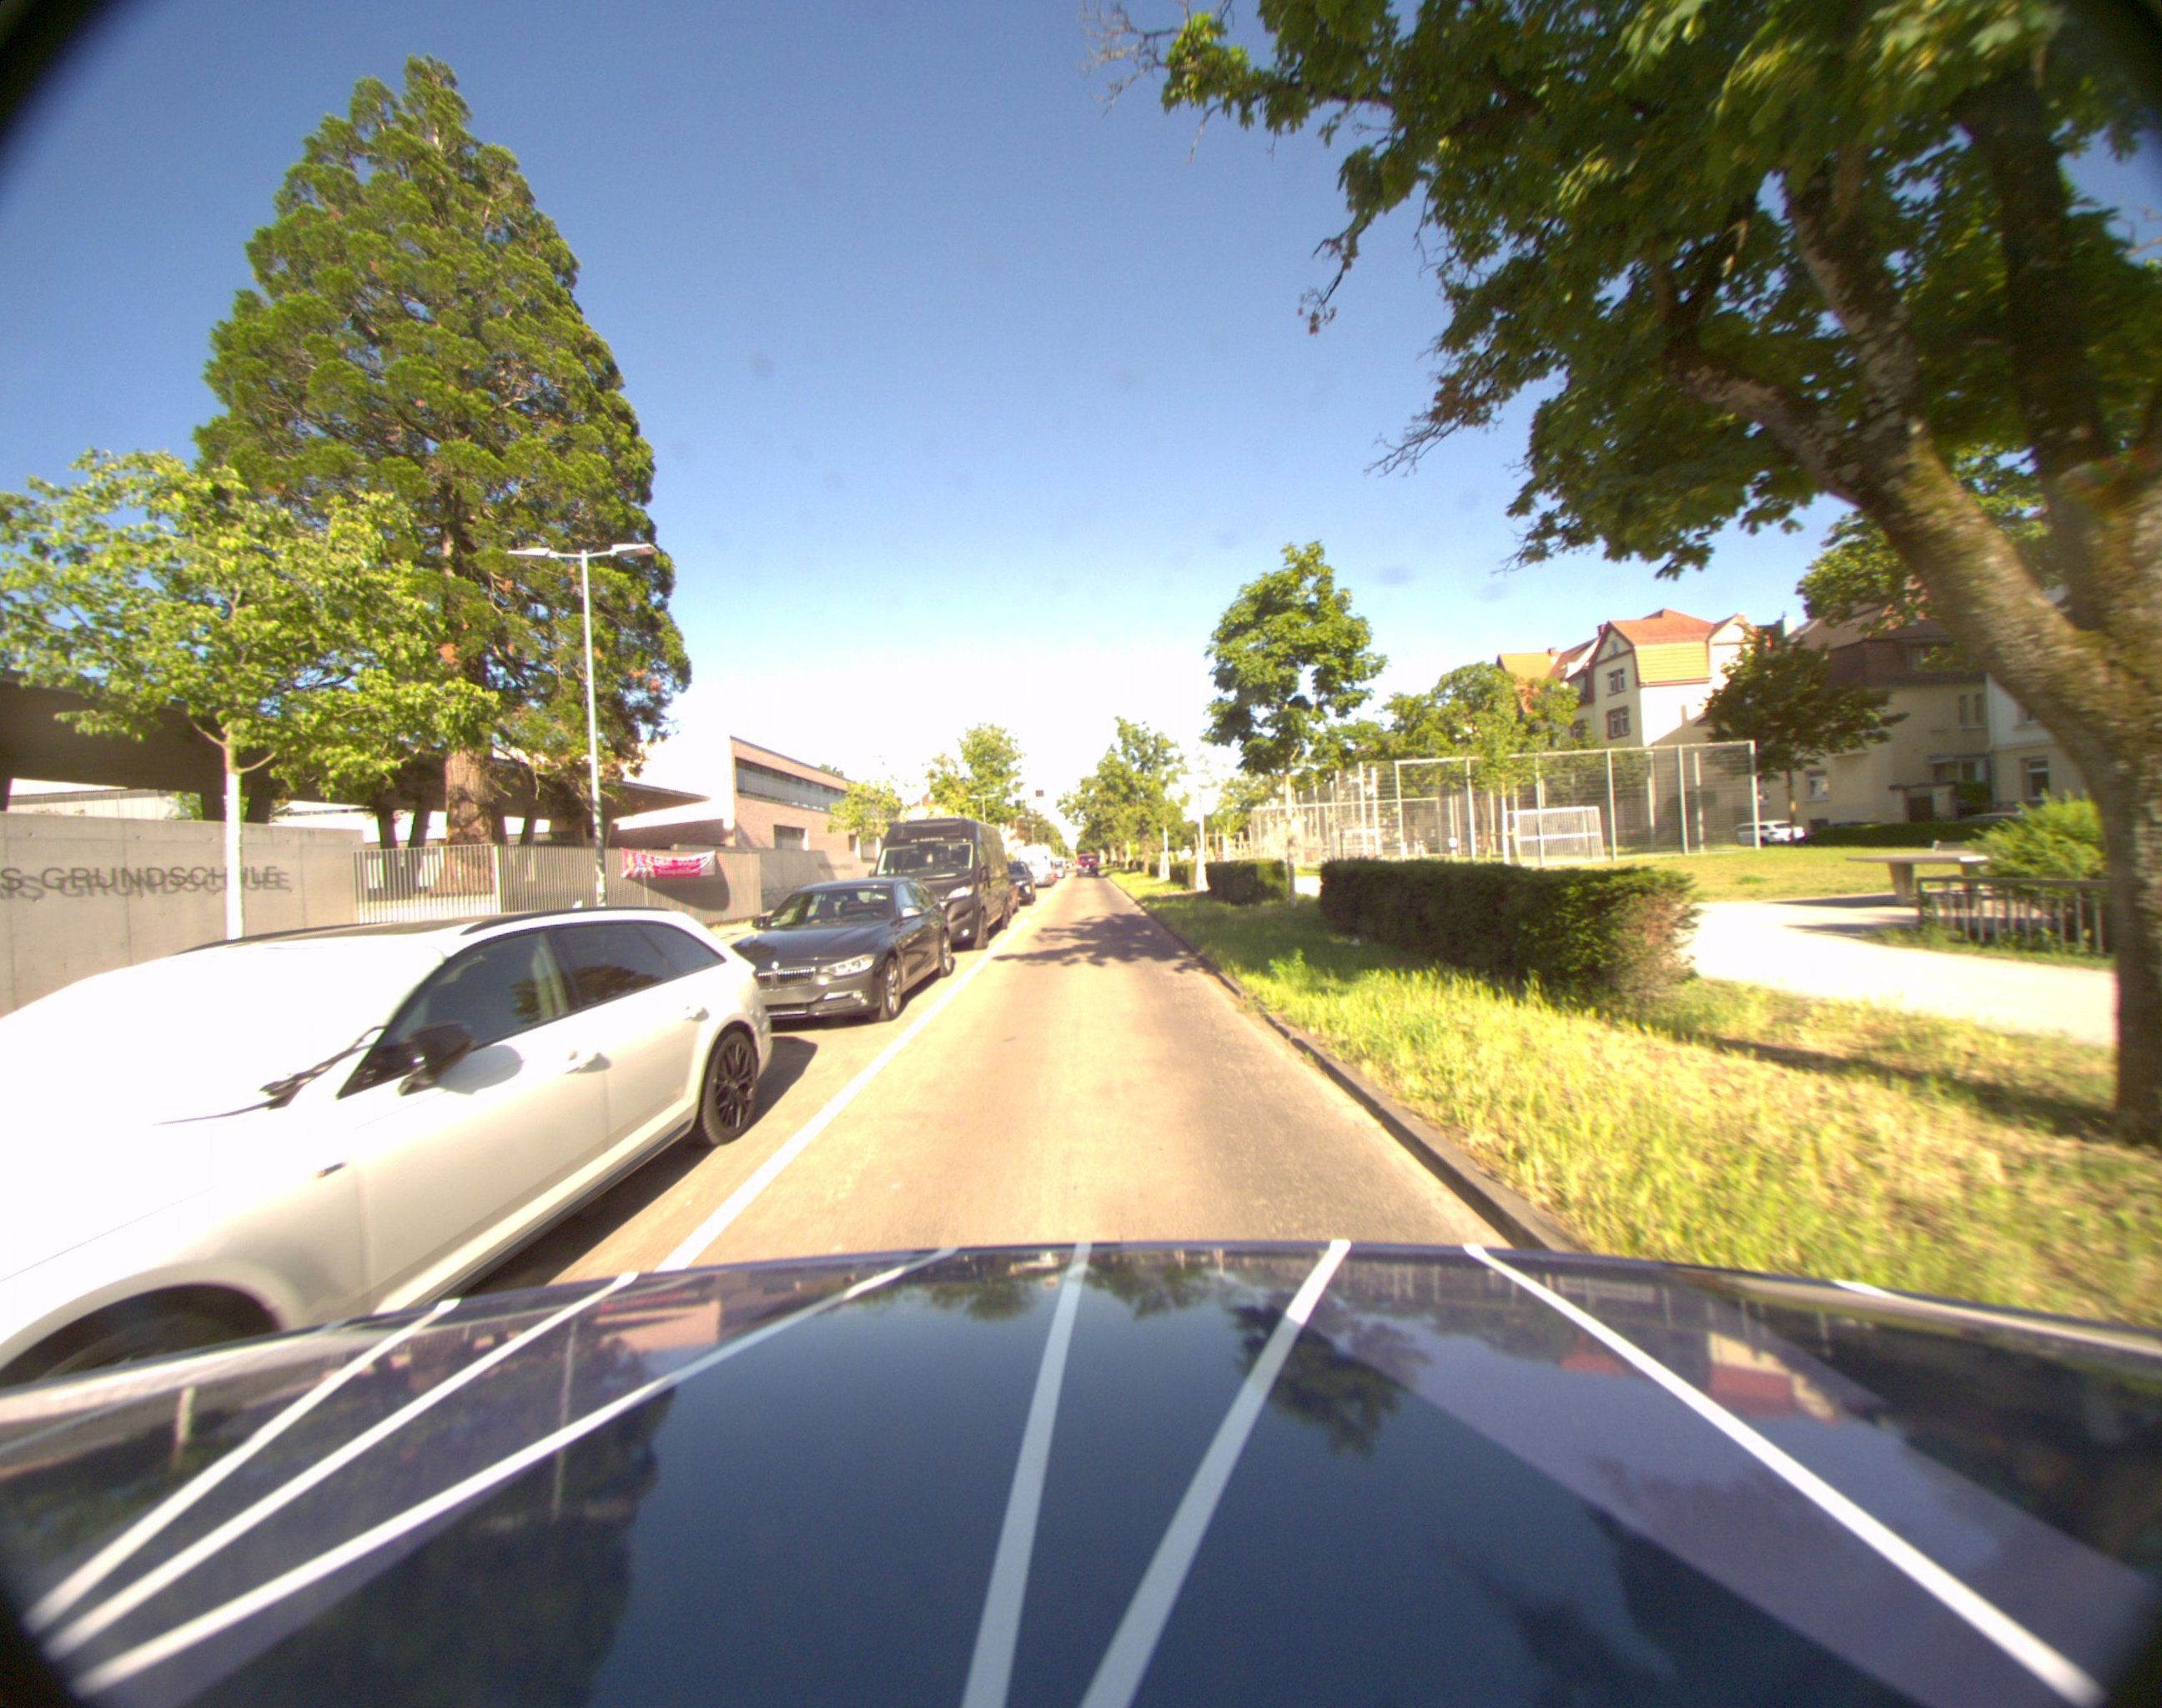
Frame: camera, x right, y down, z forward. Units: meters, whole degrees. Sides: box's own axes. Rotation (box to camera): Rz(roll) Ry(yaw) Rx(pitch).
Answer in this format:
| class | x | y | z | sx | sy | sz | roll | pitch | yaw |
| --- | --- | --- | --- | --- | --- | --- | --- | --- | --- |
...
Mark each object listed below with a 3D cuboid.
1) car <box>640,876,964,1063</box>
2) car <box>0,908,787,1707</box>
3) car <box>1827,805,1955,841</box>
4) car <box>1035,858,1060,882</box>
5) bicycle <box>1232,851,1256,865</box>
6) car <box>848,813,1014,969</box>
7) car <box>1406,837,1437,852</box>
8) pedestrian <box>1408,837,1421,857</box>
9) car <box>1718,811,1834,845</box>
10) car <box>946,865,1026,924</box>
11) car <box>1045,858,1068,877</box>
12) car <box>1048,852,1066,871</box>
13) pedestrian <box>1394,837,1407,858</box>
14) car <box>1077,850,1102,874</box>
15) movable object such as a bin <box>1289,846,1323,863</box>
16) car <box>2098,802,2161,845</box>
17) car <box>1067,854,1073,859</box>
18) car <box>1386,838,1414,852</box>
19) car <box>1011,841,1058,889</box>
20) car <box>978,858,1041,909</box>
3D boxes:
| class | x | y | z | sx | sy | sz | roll | pitch | yaw |
| --- | --- | --- | --- | --- | --- | --- | --- | --- | --- |
| car | -2.833 | 1.093 | 9.053 | 1.998 | 1.412 | 4.636 | -3 | 0 | 1 |
| car | -2.922 | 1.120 | 2.773 | 1.799 | 1.412 | 4.657 | -3 | 0 | 0 |
| car | 39.861 | -1.470 | 37.573 | 1.799 | 1.501 | 4.231 | -4 | 0 | 1 |
| car | -2.354 | 1.098 | 53.756 | 1.624 | 1.579 | 3.591 | -3 | 0 | -2 |
| bicycle | 13.215 | 0.324 | 61.631 | 1.799 | 1.101 | 0.500 | -3 | 0 | -1 |
| car | -2.790 | 0.614 | 15.945 | 2.121 | 2.501 | 6.531 | -3 | 0 | -1 |
| car | 40.078 | -1.088 | 89.570 | 1.799 | 1.545 | 4.000 | -4 | 0 | 0 |
| pedestrian | 21.847 | -0.456 | 49.766 | 0.648 | 1.310 | 0.651 | -3 | 1 | 30 |
| car | 39.570 | -1.426 | 43.477 | 1.886 | 1.642 | 5.182 | -4 | 0 | 1 |
| car | -2.740 | 1.130 | 22.749 | 1.799 | 1.446 | 3.949 | -3 | 0 | 0 |
| car | -2.133 | 1.170 | 65.887 | 1.705 | 1.470 | 4.173 | -4 | 0 | 1 |
| car | -2.562 | 0.796 | 82.428 | 1.812 | 1.897 | 4.461 | -4 | 0 | -1 |
| pedestrian | 21.094 | -0.412 | 50.173 | 0.648 | 1.310 | 0.651 | -3 | 1 | 30 |
| car | 0.751 | 0.682 | 67.983 | 2.092 | 2.000 | 4.844 | -1 | 0 | 0 |
| movable object such as a bin | 17.750 | 0.035 | 60.048 | 2.337 | 1.234 | 1.056 | -2 | 0 | -3 |
| car | 39.828 | -1.165 | 26.889 | 1.799 | 1.501 | 4.347 | -4 | 0 | 1 |
| car | -3.745 | 0.792 | 253.250 | 1.799 | 1.529 | 4.001 | -4 | -1 | 0 |
| car | 39.979 | -1.096 | 95.360 | 1.799 | 1.545 | 4.000 | -4 | 0 | 0 |
| car | -2.695 | 0.603 | 45.780 | 2.246 | 2.559 | 5.432 | -4 | 0 | 1 |
| car | -2.584 | 1.021 | 28.311 | 1.851 | 1.630 | 4.503 | -3 | 0 | 0 |
